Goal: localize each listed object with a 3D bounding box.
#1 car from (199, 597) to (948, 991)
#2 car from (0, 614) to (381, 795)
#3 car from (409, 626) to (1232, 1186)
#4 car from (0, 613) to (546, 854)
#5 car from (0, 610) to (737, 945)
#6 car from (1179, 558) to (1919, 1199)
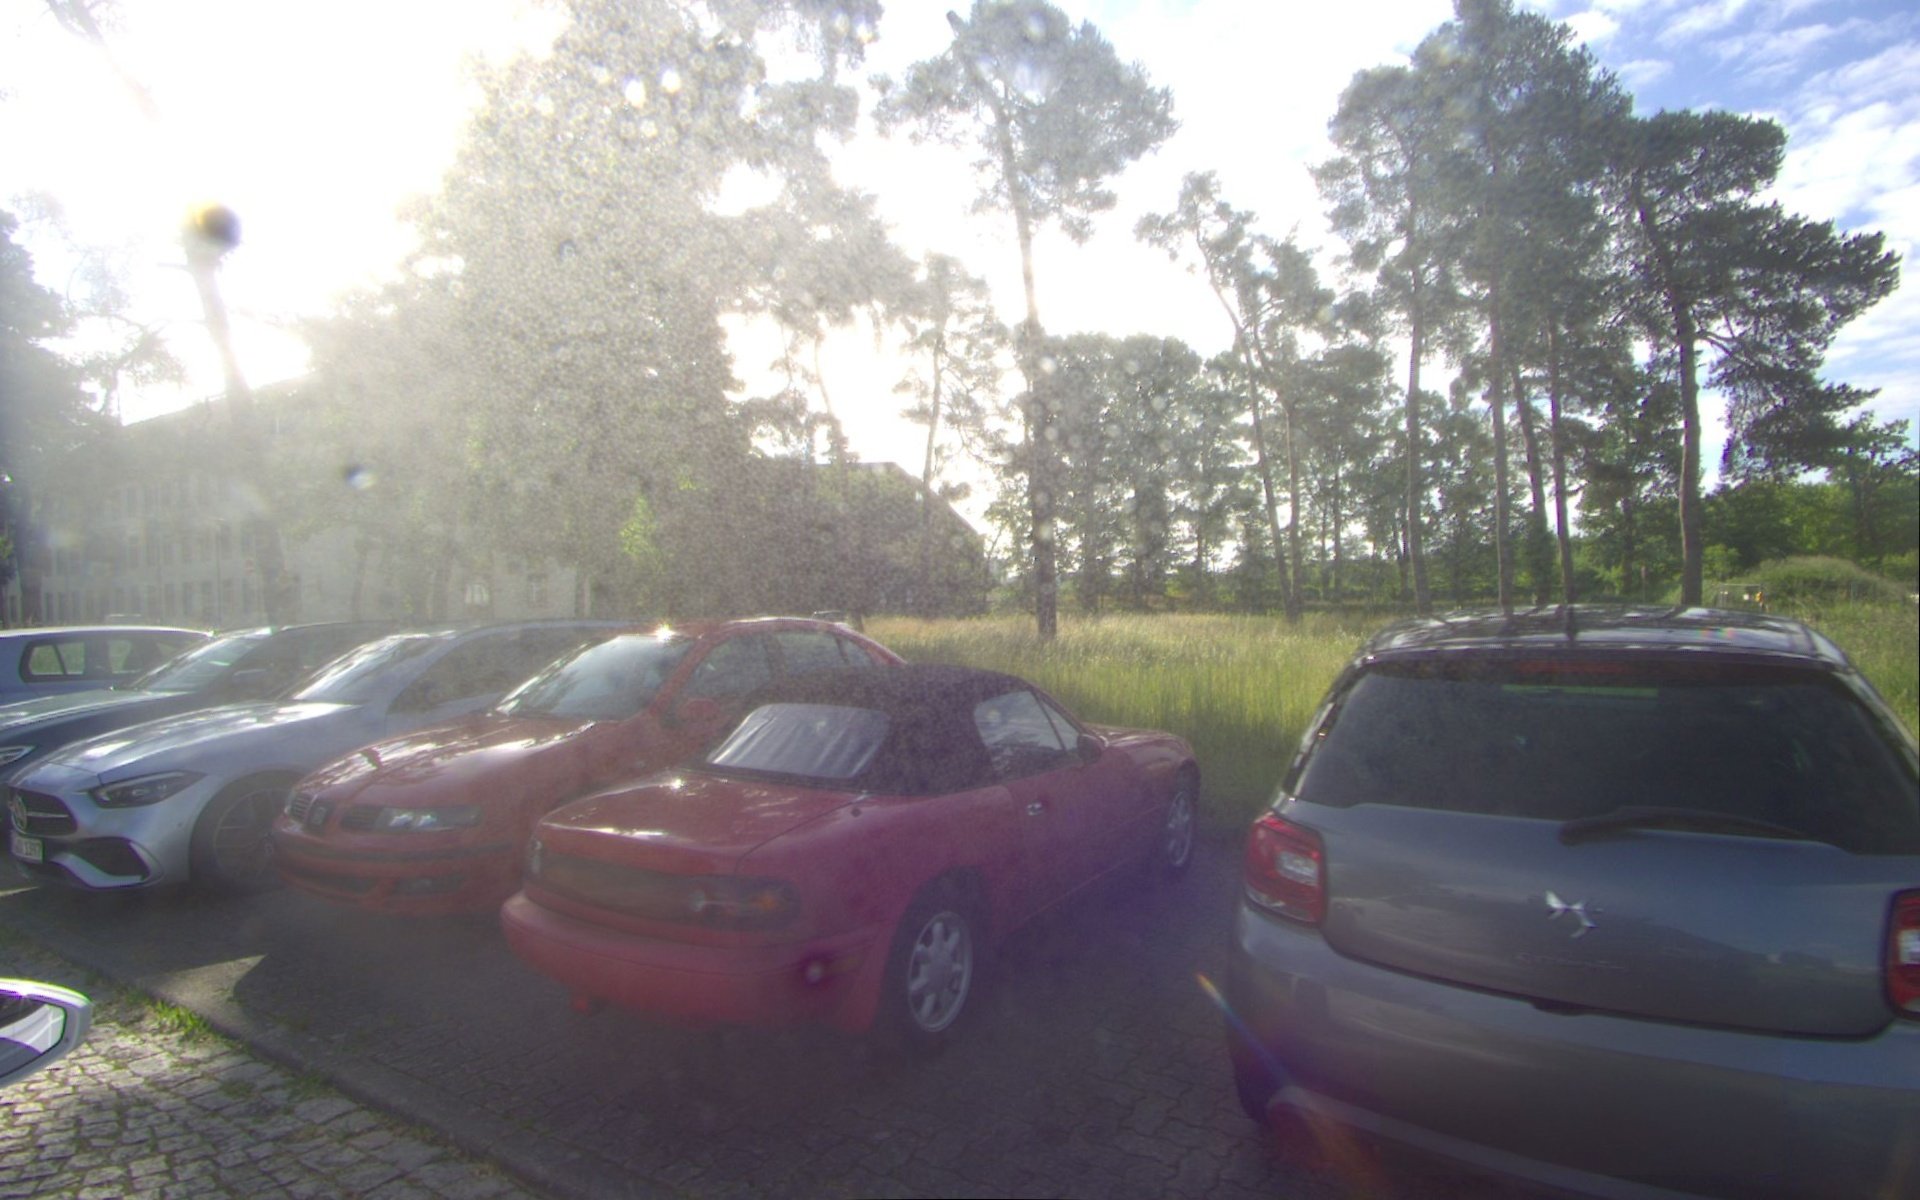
[{"bbox_3d":[-1.886,0.779,6.158,1.613,1.469,4.116,0,2,33],"label":"car"},{"bbox_3d":[-8.296,0.941,10.152,1.613,1.434,3.872,0,2,33],"label":"car"},{"bbox_3d":[-0.183,0.837,4.576,1.722,1.240,3.697,-1,1,33],"label":"car"},{"bbox_3d":[-6.068,0.916,8.548,1.613,1.434,4.547,0,1,33],"label":"car"},{"bbox_3d":[-3.828,0.876,7.106,1.756,1.434,4.420,0,1,33],"label":"car"},{"bbox_3d":[2.329,0.610,3.755,1.790,1.469,3.698,0,1,32],"label":"car"}]
